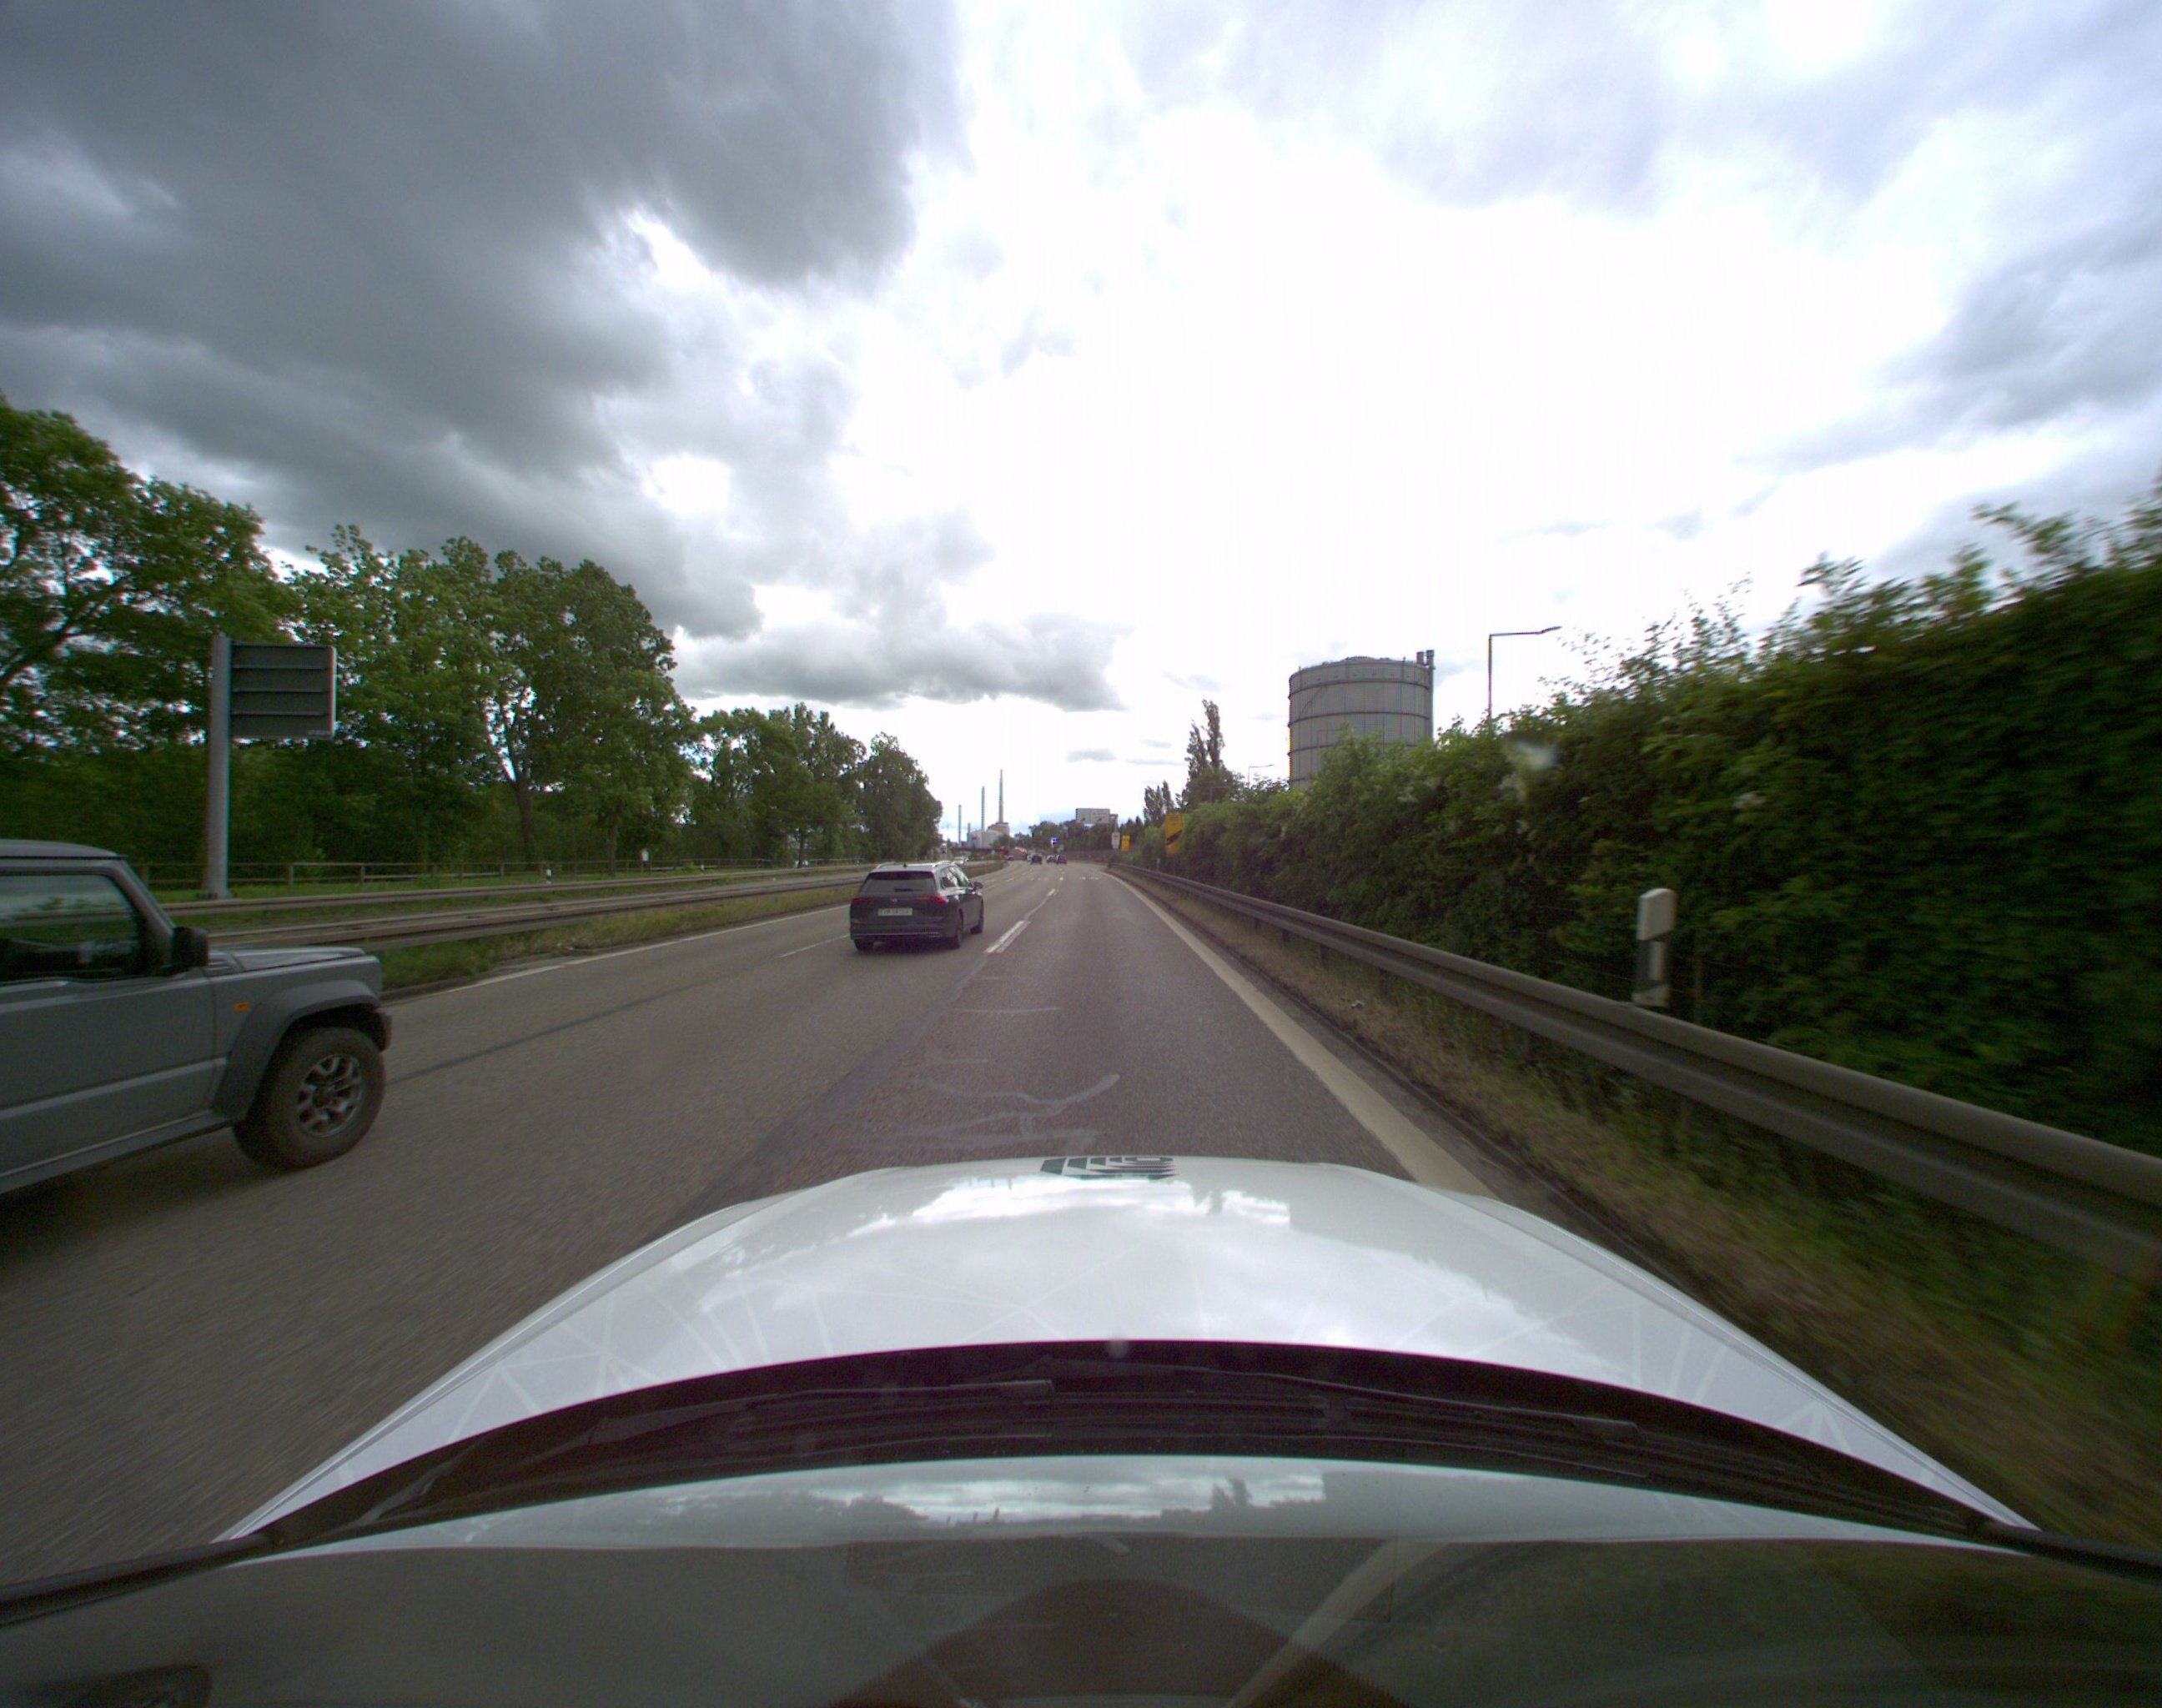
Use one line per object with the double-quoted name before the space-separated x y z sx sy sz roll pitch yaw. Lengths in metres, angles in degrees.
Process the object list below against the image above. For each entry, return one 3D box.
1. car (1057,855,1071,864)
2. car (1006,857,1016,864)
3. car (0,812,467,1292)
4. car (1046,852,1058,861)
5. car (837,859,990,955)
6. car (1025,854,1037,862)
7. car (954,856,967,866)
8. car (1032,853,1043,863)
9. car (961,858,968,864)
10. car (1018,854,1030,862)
"car" -2.836 0.911 135.782 1.971 1.423 4.892 -1 0 -5
"car" -19.545 1.789 227.076 1.701 1.742 4.368 -1 0 -16
"car" -4.671 0.722 3.074 1.693 1.686 3.997 -2 0 -2
"car" -5.874 0.495 164.221 1.698 1.742 4.378 -1 0 -10
"car" -2.851 0.834 14.960 1.839 1.423 4.898 0 0 -1
"car" -11.819 0.939 191.180 2.016 1.934 4.877 -1 0 -14
"car" -17.924 1.018 121.334 1.610 1.386 3.729 0 0 -2
"car" -7.538 0.692 141.132 1.695 1.742 3.992 -1 0 -6
"car" -30.967 1.897 216.333 1.698 1.413 4.622 -1 0 -10
"car" -14.714 1.048 209.170 2.017 1.934 4.874 -1 0 -16
